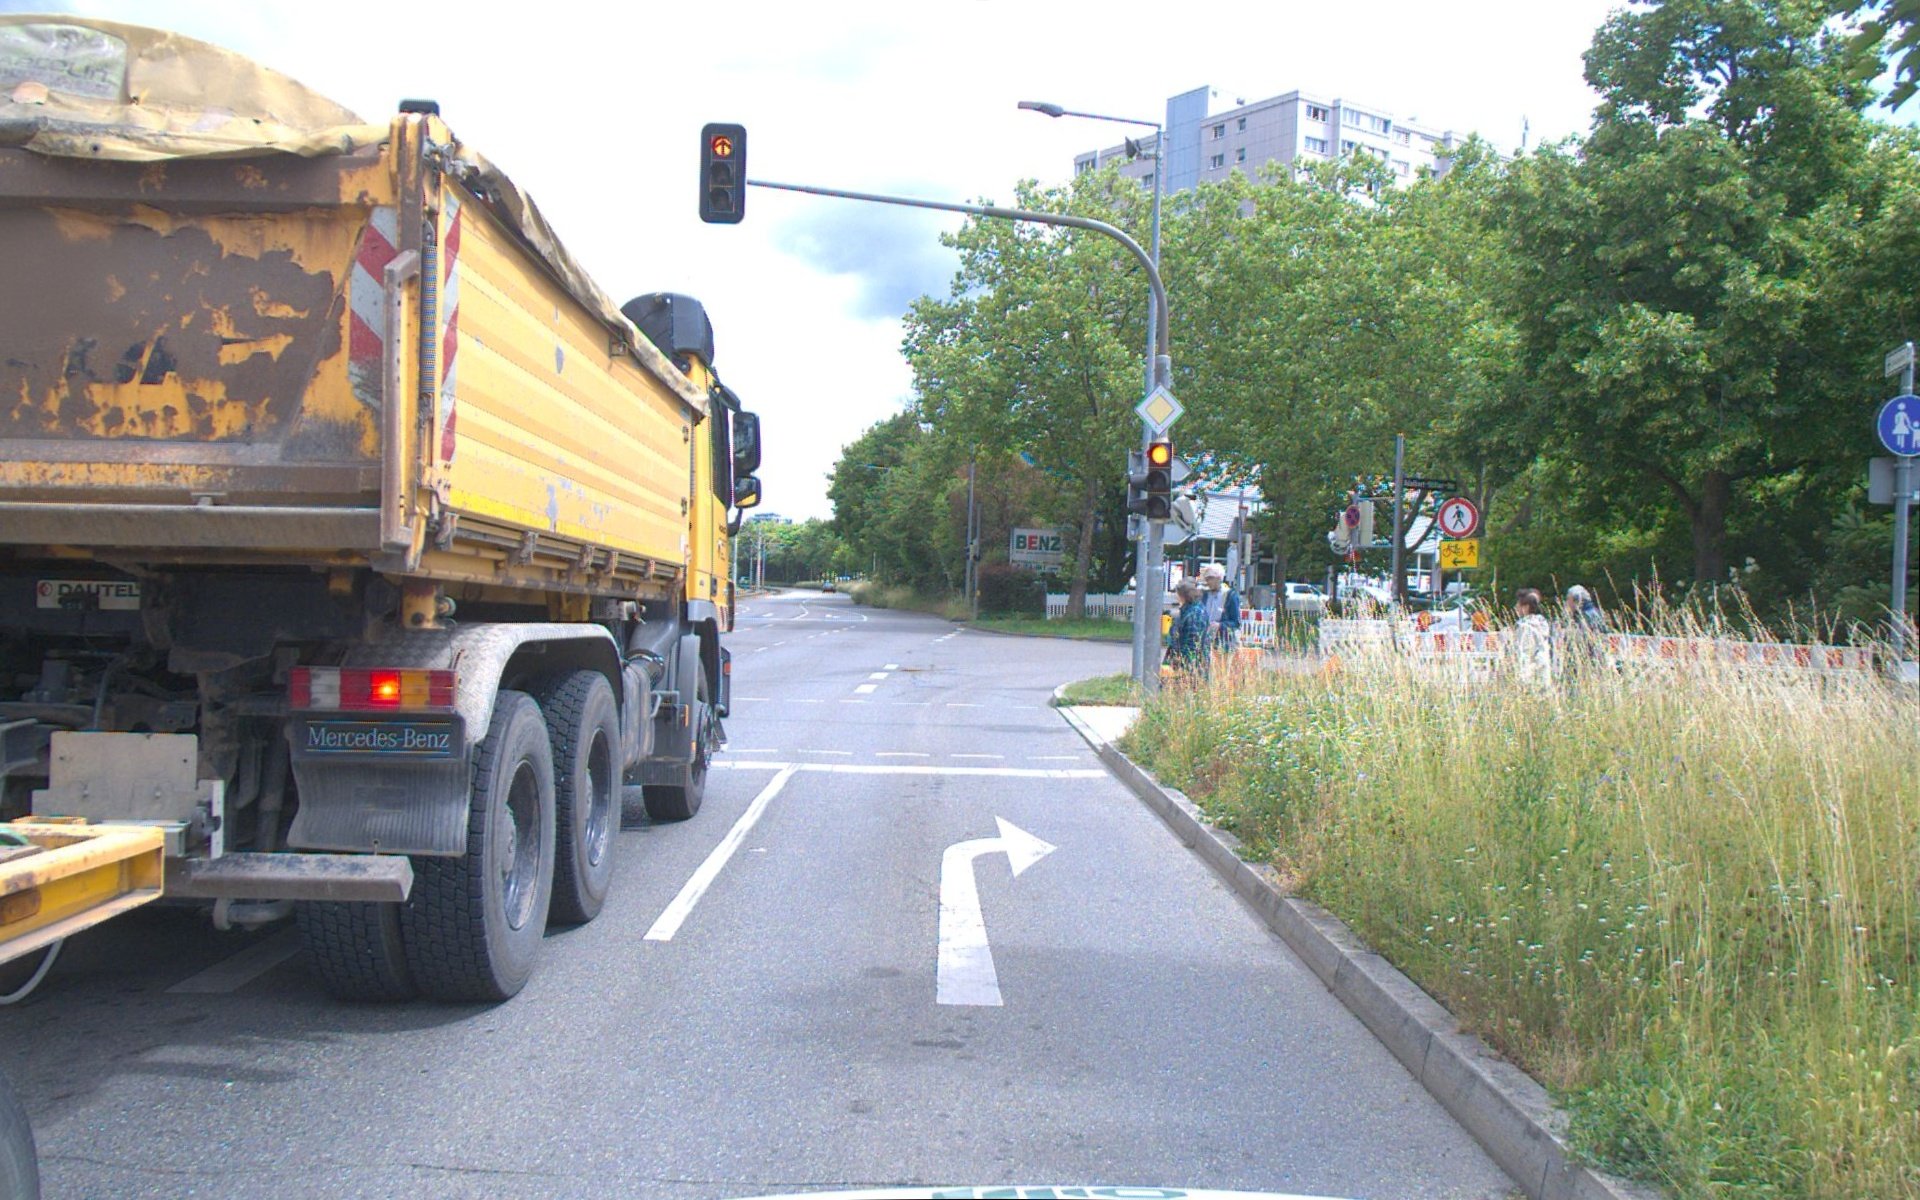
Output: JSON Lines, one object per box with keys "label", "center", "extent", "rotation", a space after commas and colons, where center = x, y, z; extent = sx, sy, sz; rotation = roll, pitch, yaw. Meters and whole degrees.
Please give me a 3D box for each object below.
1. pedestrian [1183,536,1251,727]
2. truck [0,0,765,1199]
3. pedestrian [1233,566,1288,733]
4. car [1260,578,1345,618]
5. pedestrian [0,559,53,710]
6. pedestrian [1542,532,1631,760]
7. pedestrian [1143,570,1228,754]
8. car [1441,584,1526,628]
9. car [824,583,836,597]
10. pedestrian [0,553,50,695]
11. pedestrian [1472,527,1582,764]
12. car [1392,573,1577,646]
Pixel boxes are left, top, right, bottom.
{"label": "pedestrian", "center": [2.805, 0.346, 18.095], "extent": [0.551, 2.049, 0.490], "rotation": [2, 0, -10]}
{"label": "truck", "center": [-2.777, -0.238, 8.188], "extent": [2.697, 3.371, 8.350], "rotation": [2, 1, -1]}
{"label": "pedestrian", "center": [3.750, 0.612, 20.681], "extent": [0.490, 2.049, 0.490], "rotation": [2, 0, -10]}
{"label": "car", "center": [16.556, -0.103, 79.902], "extent": [3.960, 1.814, 1.973], "rotation": [1, 1, -39]}
{"label": "pedestrian", "center": [-10.631, 0.359, 18.333], "extent": [0.667, 1.630, 0.823], "rotation": [2, 0, -2]}
{"label": "pedestrian", "center": [5.774, 0.418, 15.246], "extent": [0.551, 2.049, 0.490], "rotation": [2, 0, -10]}
{"label": "pedestrian", "center": [2.144, 0.574, 15.677], "extent": [0.615, 1.682, 0.562], "rotation": [1, 0, 25]}
{"label": "car", "center": [24.961, 0.283, 78.857], "extent": [3.960, 1.988, 1.973], "rotation": [1, 1, -39]}
{"label": "car", "center": [-18.775, -1.499, 239.359], "extent": [1.657, 1.959, 3.996], "rotation": [2, 1, -5]}
{"label": "pedestrian", "center": [-11.855, 0.277, 20.413], "extent": [0.818, 1.699, 0.936], "rotation": [2, 0, -13]}
{"label": "pedestrian", "center": [5.055, 0.400, 14.758], "extent": [0.659, 2.049, 0.633], "rotation": [2, 0, -10]}
{"label": "car", "center": [12.919, 0.226, 40.904], "extent": [3.906, 1.635, 1.999], "rotation": [2, 1, -2]}
